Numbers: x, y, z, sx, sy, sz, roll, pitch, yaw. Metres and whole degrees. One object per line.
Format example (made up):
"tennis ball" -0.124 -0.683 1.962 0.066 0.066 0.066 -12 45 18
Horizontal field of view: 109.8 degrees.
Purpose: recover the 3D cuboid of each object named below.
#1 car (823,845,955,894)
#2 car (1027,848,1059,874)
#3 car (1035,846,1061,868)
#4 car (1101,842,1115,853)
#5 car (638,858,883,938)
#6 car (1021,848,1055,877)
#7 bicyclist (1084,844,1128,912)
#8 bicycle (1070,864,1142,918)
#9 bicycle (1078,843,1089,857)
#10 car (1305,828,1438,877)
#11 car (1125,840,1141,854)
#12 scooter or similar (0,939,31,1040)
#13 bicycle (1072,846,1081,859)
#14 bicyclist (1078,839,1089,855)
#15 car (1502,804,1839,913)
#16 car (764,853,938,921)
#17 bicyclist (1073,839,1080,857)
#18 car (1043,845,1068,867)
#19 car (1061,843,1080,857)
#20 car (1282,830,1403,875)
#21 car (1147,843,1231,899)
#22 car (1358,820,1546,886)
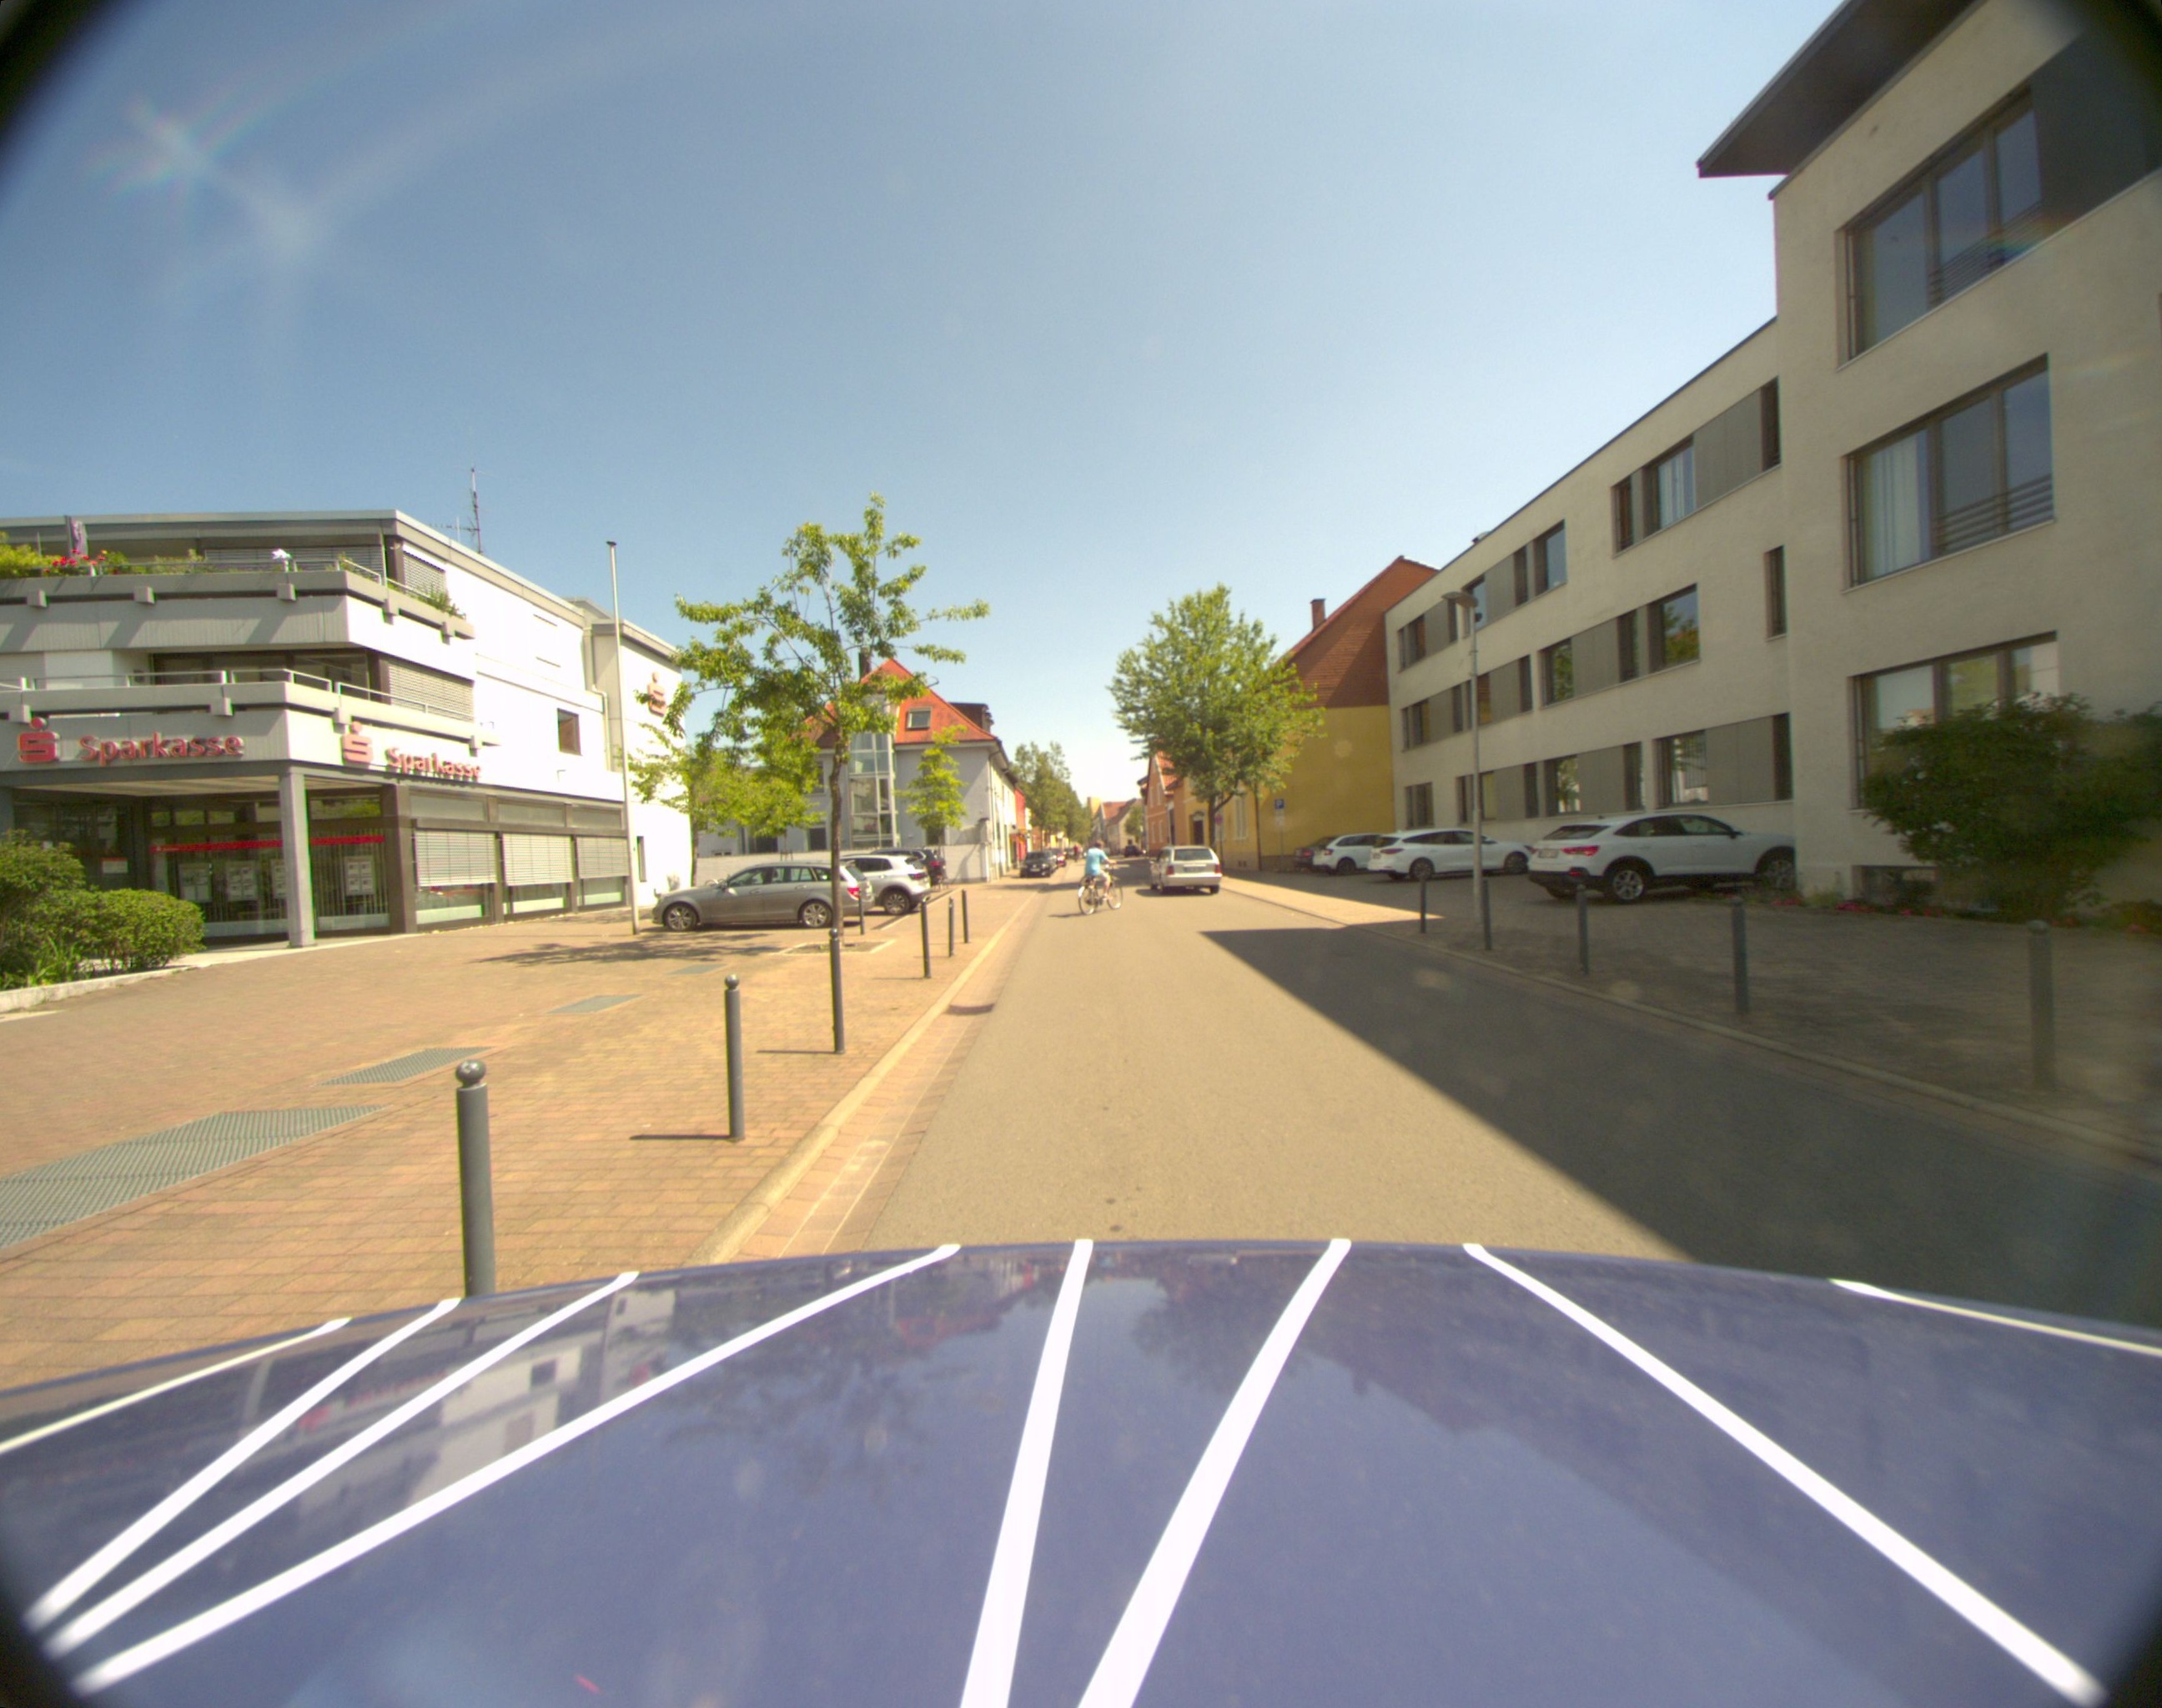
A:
"car" -7.466 0.599 29.910 4.643 1.761 2.147 -1 0 -3
"car" -2.373 0.399 48.261 1.721 1.473 4.095 -2 1 1
"car" -2.381 0.182 56.038 1.741 1.504 3.735 -2 0 -1
"car" 5.823 -1.414 162.879 2.443 2.224 4.958 -3 1 -3
"car" -6.920 0.917 16.872 4.589 1.504 1.915 -1 1 -6
"car" -2.383 0.455 42.454 1.708 1.473 3.920 -1 1 -1
"bicyclist" 0.578 0.547 17.474 0.669 1.518 0.763 -1 1 35
"bicycle" 0.603 0.826 17.505 0.674 1.103 1.899 -1 1 36
"bicycle" 0.264 -0.413 80.175 0.959 1.363 2.406 -2 1 4
"car" 10.374 -0.055 27.333 3.997 1.443 1.807 -4 0 0
"car" 6.884 -0.947 100.121 1.863 1.620 4.048 -3 1 7
"scooter or similar" -12.217 1.517 8.283 0.589 1.069 0.807 -2 1 40
"bicycle" -0.444 -0.110 73.707 0.635 1.227 1.895 -1 -1 6
"bicyclist" 0.270 -0.744 80.141 1.028 1.635 1.025 -2 1 3
"car" 10.640 0.056 13.986 4.518 1.545 2.147 -4 1 -2
"car" -5.894 0.818 19.876 3.999 1.565 1.856 -1 2 -5
"bicyclist" -0.448 -0.582 73.761 0.645 1.766 0.722 -1 0 6
"car" -2.130 0.165 62.164 1.834 1.579 4.086 -4 1 -3
"car" -1.345 -0.535 100.274 1.928 1.594 4.110 -3 1 7
"car" 10.267 -0.064 30.001 3.998 1.423 1.971 -4 0 -4
"car" 3.208 0.446 23.410 1.885 1.456 4.434 -2 2 -1
"car" 10.755 -0.057 22.283 4.515 1.545 1.934 -4 2 0
